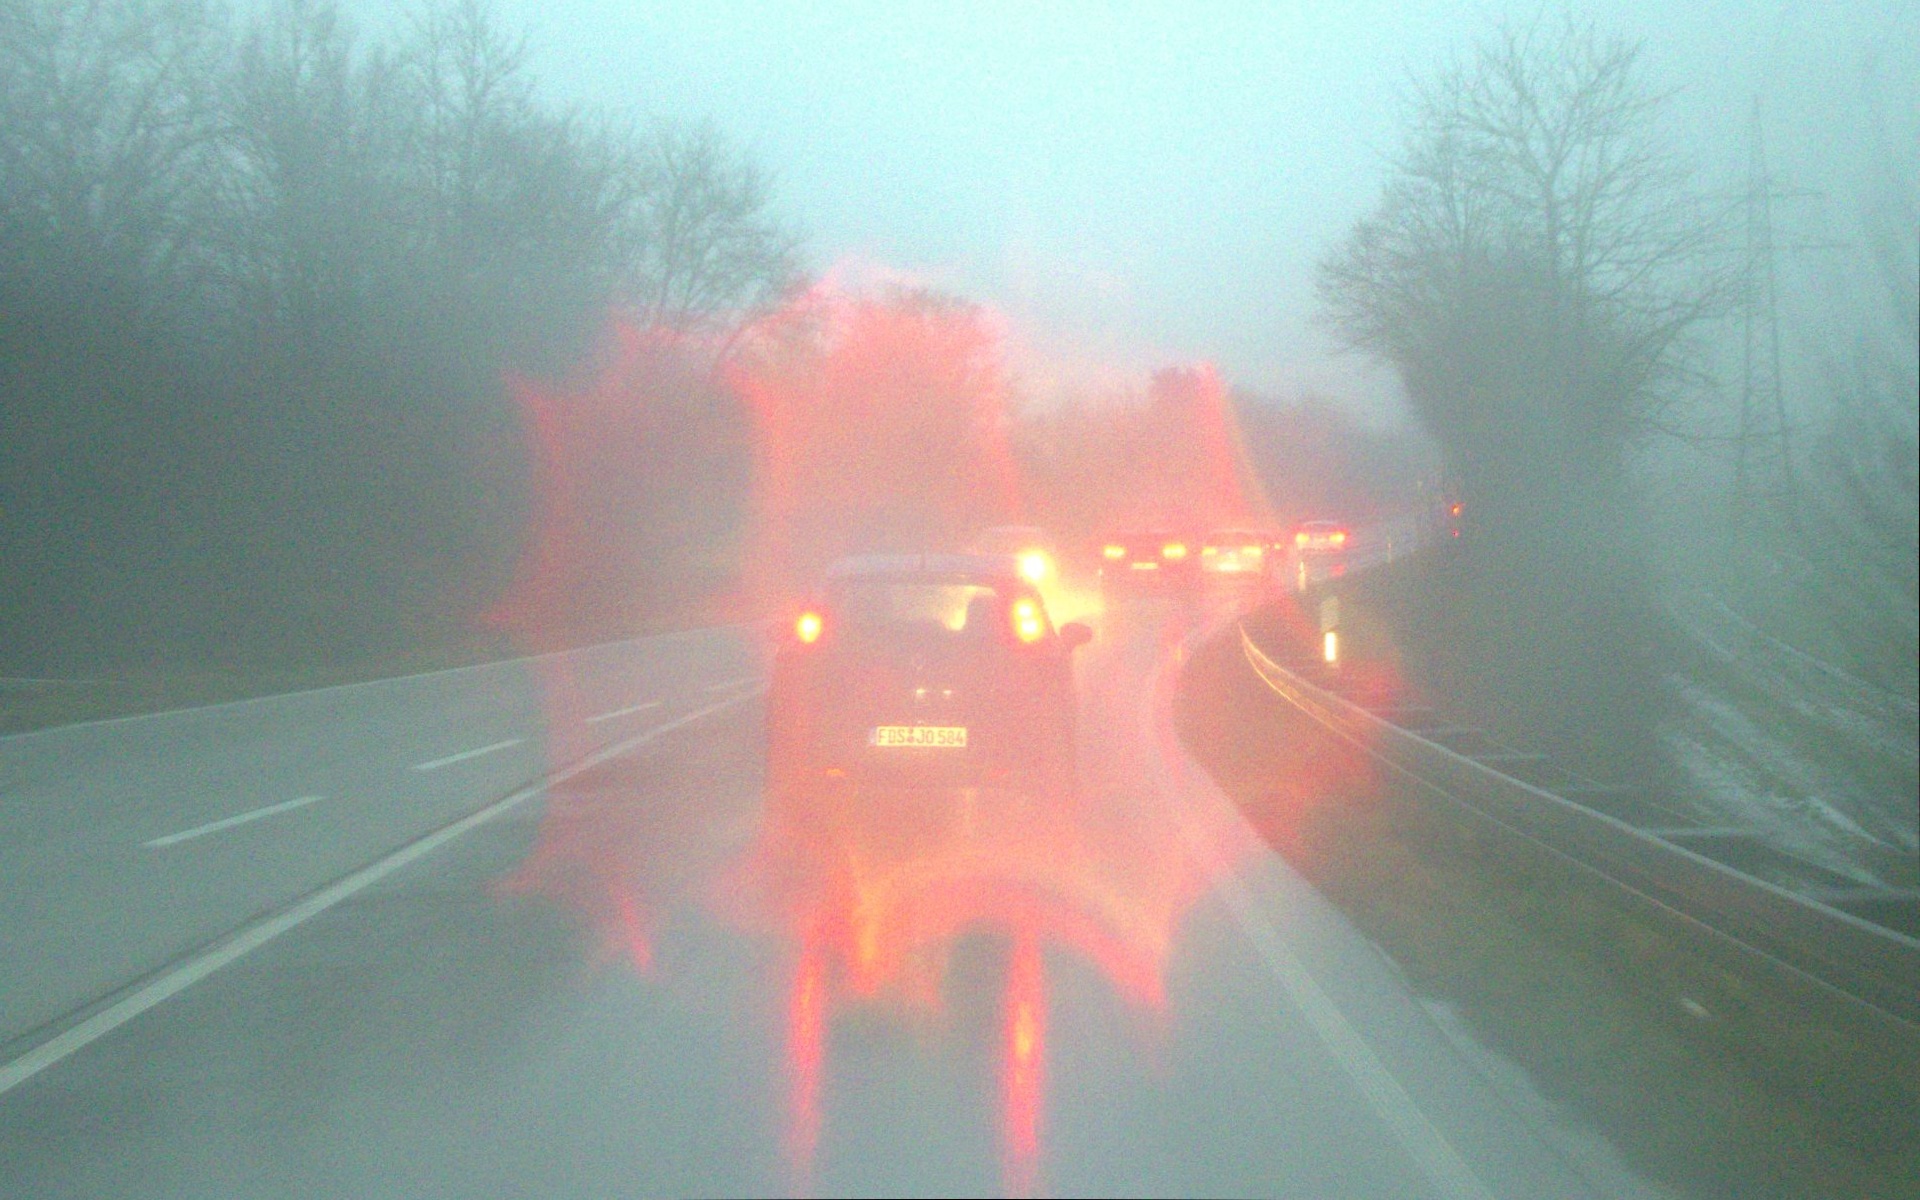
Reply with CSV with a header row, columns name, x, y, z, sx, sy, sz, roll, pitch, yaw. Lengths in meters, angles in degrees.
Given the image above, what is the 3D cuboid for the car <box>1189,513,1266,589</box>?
name,x,y,z,sx,sy,sz,roll,pitch,yaw
car,6.911,-1.285,88.570,1.946,1.738,4.000,0,4,5

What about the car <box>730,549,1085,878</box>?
name,x,y,z,sx,sy,sz,roll,pitch,yaw
car,-0.336,0.553,19.721,1.730,1.527,4.043,-4,2,-2

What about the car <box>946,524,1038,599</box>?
name,x,y,z,sx,sy,sz,roll,pitch,yaw
car,0.717,-0.850,74.658,1.700,1.570,4.000,0,1,5

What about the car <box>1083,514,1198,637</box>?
name,x,y,z,sx,sy,sz,roll,pitch,yaw
car,3.433,-0.505,66.093,1.946,2.006,4.000,-6,3,2
